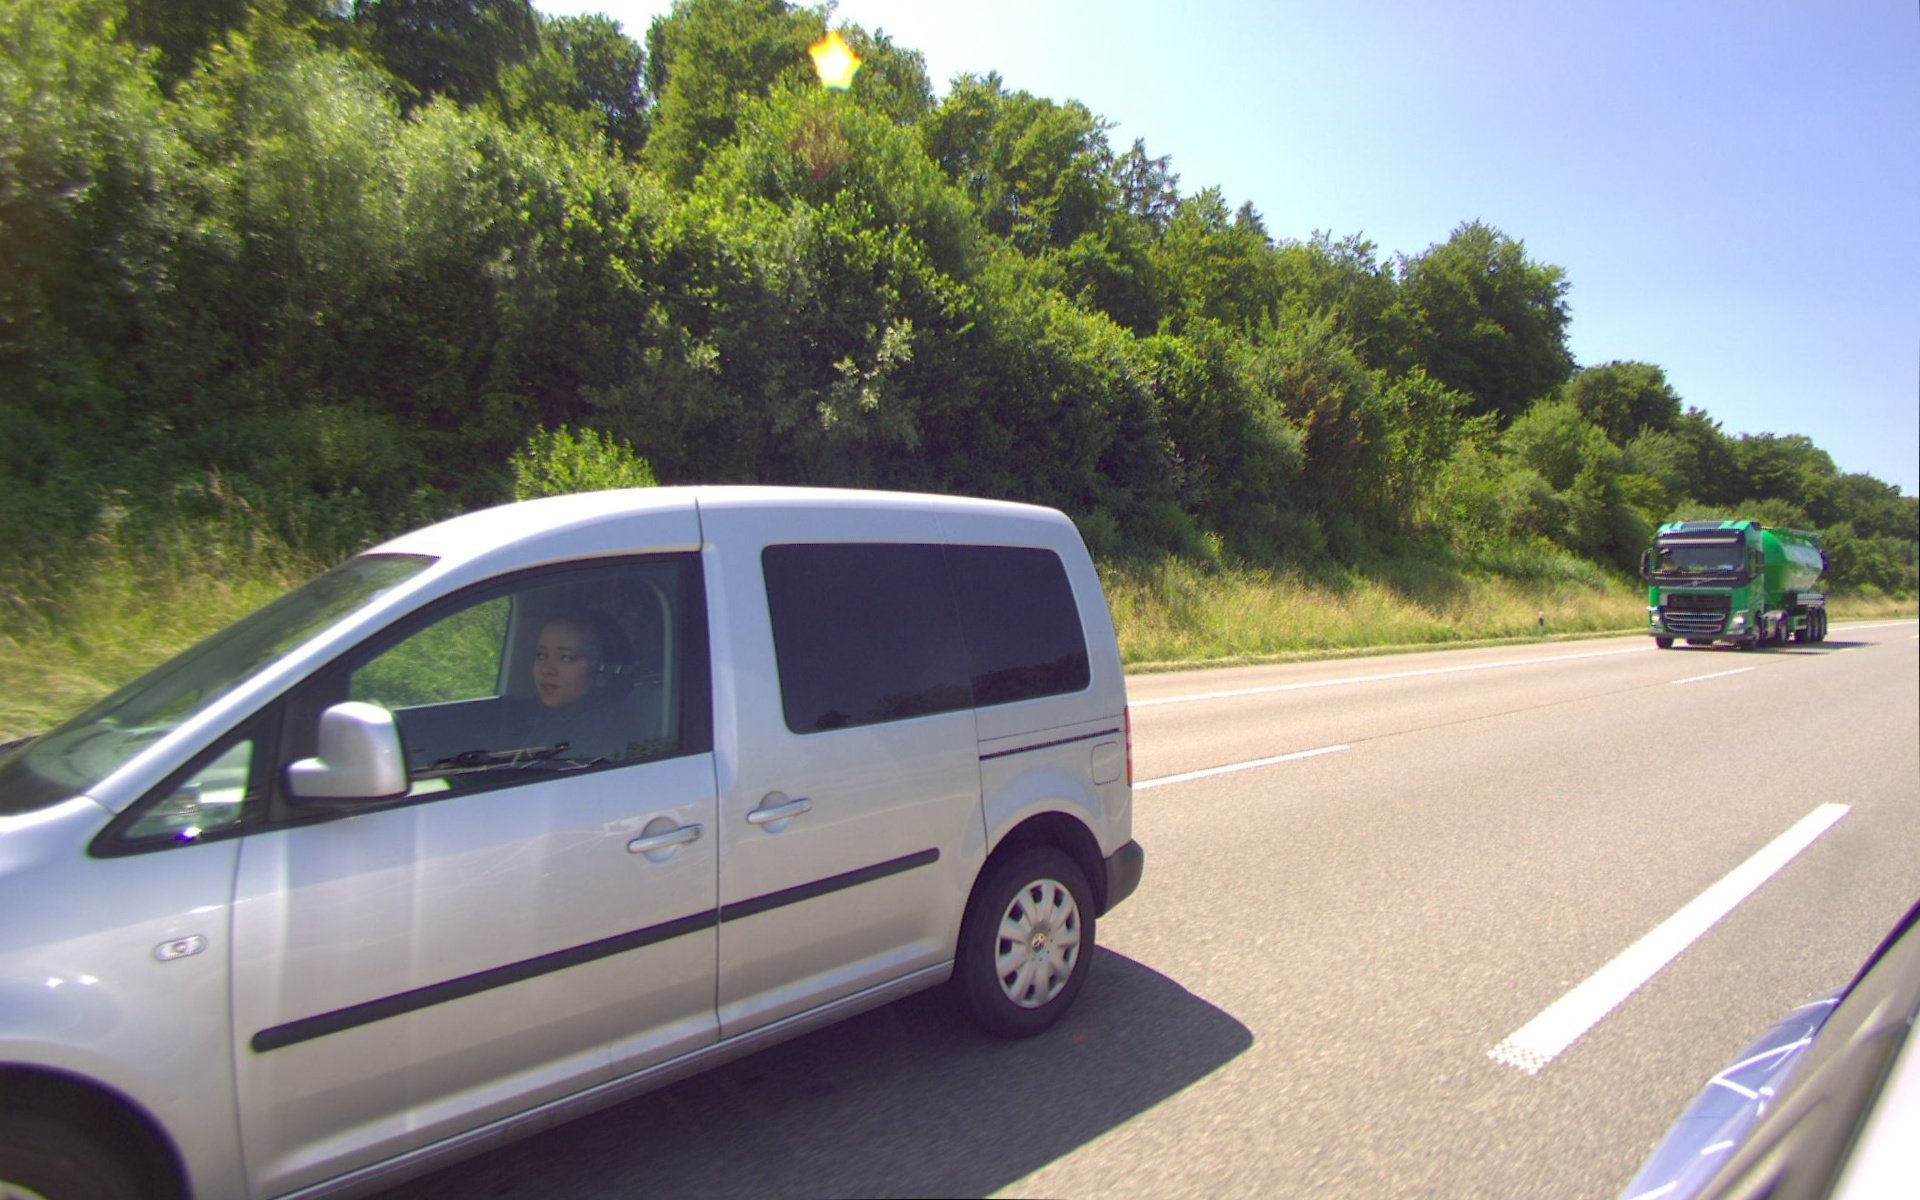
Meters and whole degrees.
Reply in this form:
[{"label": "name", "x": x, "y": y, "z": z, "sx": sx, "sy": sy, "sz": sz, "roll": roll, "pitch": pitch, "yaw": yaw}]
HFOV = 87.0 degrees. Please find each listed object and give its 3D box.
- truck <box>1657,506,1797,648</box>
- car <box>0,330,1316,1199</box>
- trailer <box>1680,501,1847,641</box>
[{"label": "truck", "x": 23.027, "y": -0.618, "z": 30.315, "sx": 4.808, "sy": 3.891, "sz": 2.513, "roll": 1, "pitch": -1, "yaw": -42}, {"label": "car", "x": -0.785, "y": 0.474, "z": 3.507, "sx": 4.717, "sy": 1.853, "sz": 1.748, "roll": 0, "pitch": 0, "yaw": -41}, {"label": "trailer", "x": 27.172, "y": -0.803, "z": 33.974, "sx": 10.286, "sy": 4.079, "sz": 2.591, "roll": 1, "pitch": -1, "yaw": -41}]
